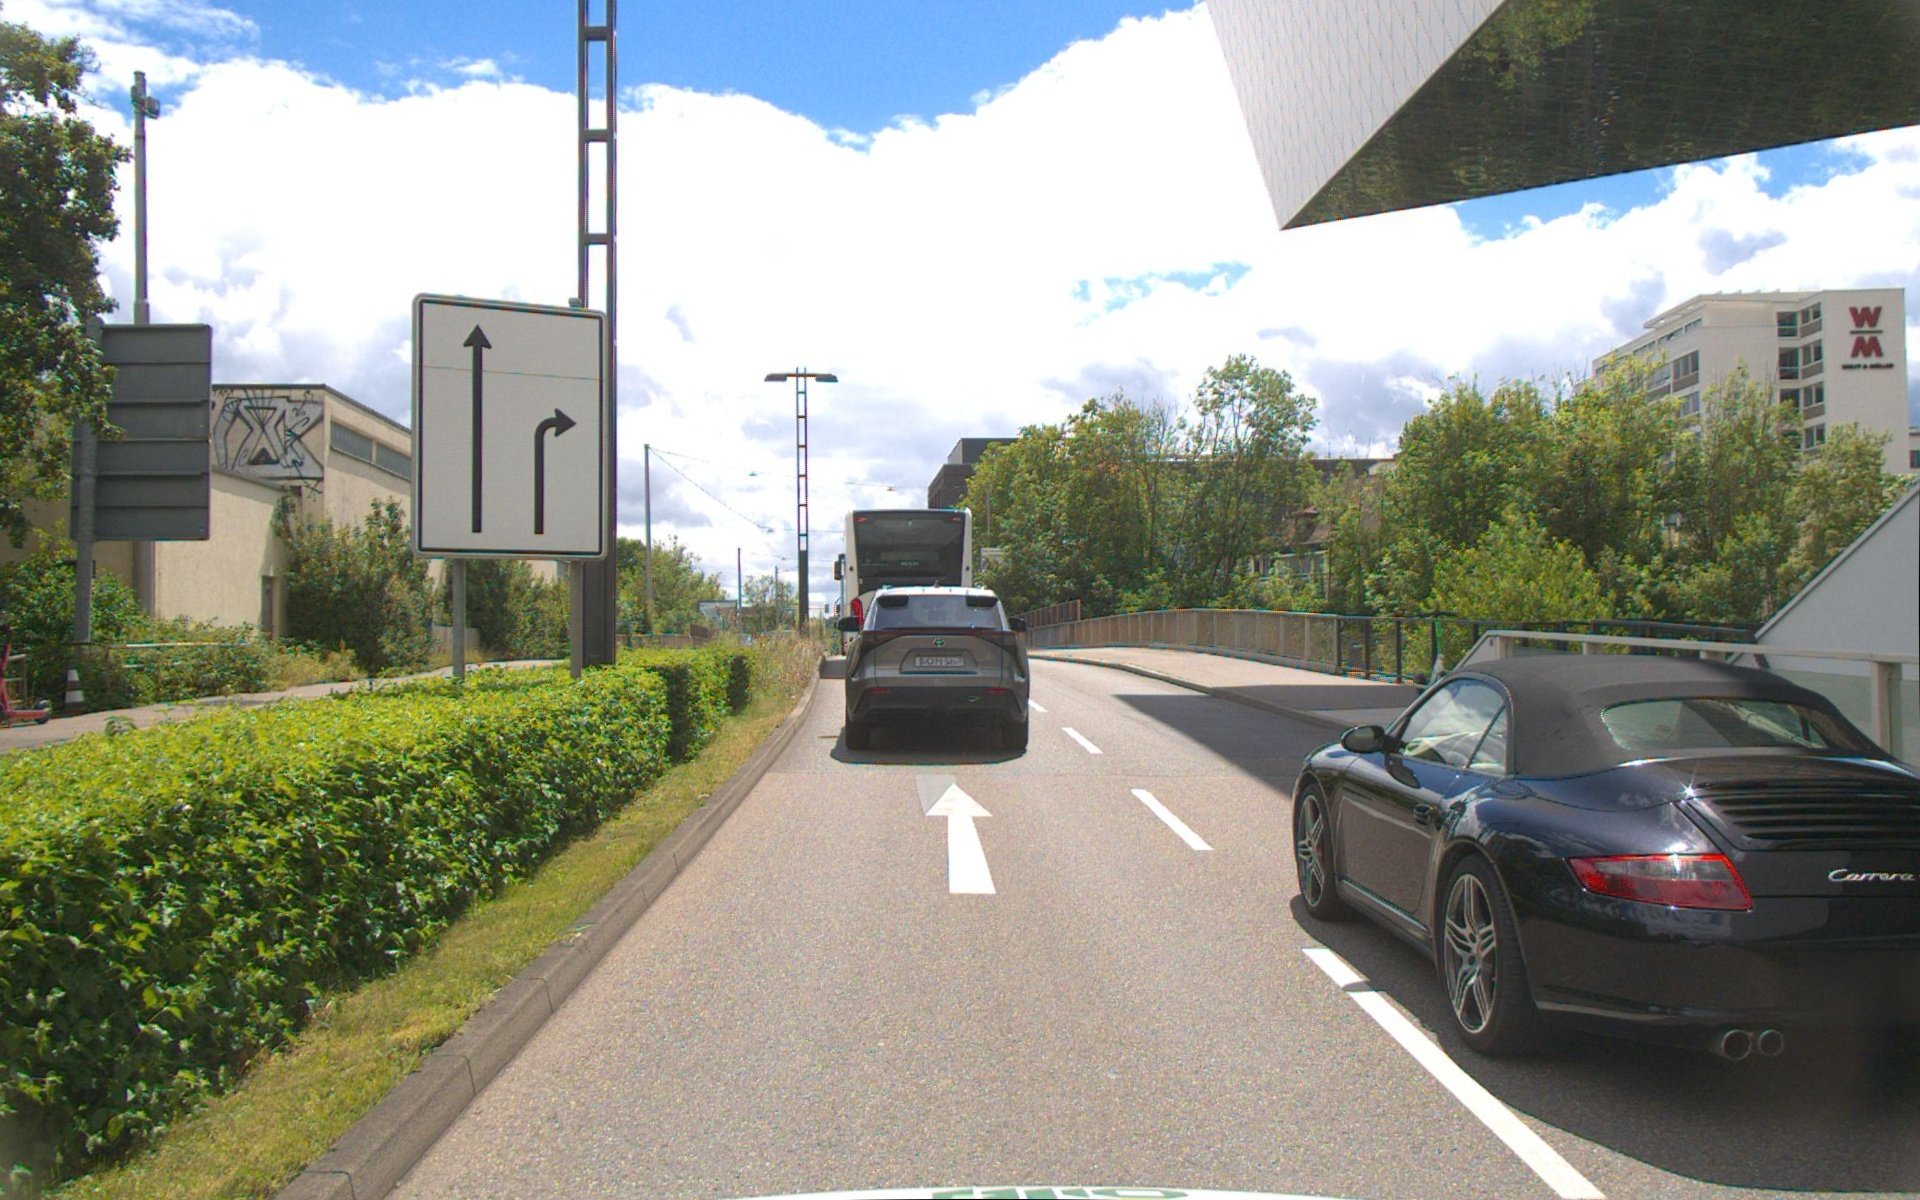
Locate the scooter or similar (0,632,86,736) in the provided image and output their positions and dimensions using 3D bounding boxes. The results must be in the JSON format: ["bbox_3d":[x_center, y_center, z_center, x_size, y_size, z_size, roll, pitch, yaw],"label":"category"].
[{"bbox_3d":[-11.878,1.054,21.162,0.481,1.237,1.643,-1,0,1],"label":"scooter or similar"}]

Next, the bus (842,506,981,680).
[{"bbox_3d":[-1.166,-0.220,37.770,2.635,3.312,12.052,1,1,-2],"label":"bus"}]

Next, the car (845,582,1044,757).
[{"bbox_3d":[-0.218,0.662,17.554,1.842,1.622,4.227,1,0,-2],"label":"car"}]

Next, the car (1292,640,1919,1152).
[{"bbox_3d":[2.582,0.847,6.524,1.685,1.297,4.087,0,0,-1],"label":"car"}]

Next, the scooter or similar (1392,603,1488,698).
[{"bbox_3d":[6.590,0.677,22.786,0.640,1.235,1.856,-2,0,-4],"label":"scooter or similar"}]

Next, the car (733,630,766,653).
[{"bbox_3d":[-13.182,2.602,103.766,1.720,1.298,3.996,-3,-1,-4],"label":"car"}]
